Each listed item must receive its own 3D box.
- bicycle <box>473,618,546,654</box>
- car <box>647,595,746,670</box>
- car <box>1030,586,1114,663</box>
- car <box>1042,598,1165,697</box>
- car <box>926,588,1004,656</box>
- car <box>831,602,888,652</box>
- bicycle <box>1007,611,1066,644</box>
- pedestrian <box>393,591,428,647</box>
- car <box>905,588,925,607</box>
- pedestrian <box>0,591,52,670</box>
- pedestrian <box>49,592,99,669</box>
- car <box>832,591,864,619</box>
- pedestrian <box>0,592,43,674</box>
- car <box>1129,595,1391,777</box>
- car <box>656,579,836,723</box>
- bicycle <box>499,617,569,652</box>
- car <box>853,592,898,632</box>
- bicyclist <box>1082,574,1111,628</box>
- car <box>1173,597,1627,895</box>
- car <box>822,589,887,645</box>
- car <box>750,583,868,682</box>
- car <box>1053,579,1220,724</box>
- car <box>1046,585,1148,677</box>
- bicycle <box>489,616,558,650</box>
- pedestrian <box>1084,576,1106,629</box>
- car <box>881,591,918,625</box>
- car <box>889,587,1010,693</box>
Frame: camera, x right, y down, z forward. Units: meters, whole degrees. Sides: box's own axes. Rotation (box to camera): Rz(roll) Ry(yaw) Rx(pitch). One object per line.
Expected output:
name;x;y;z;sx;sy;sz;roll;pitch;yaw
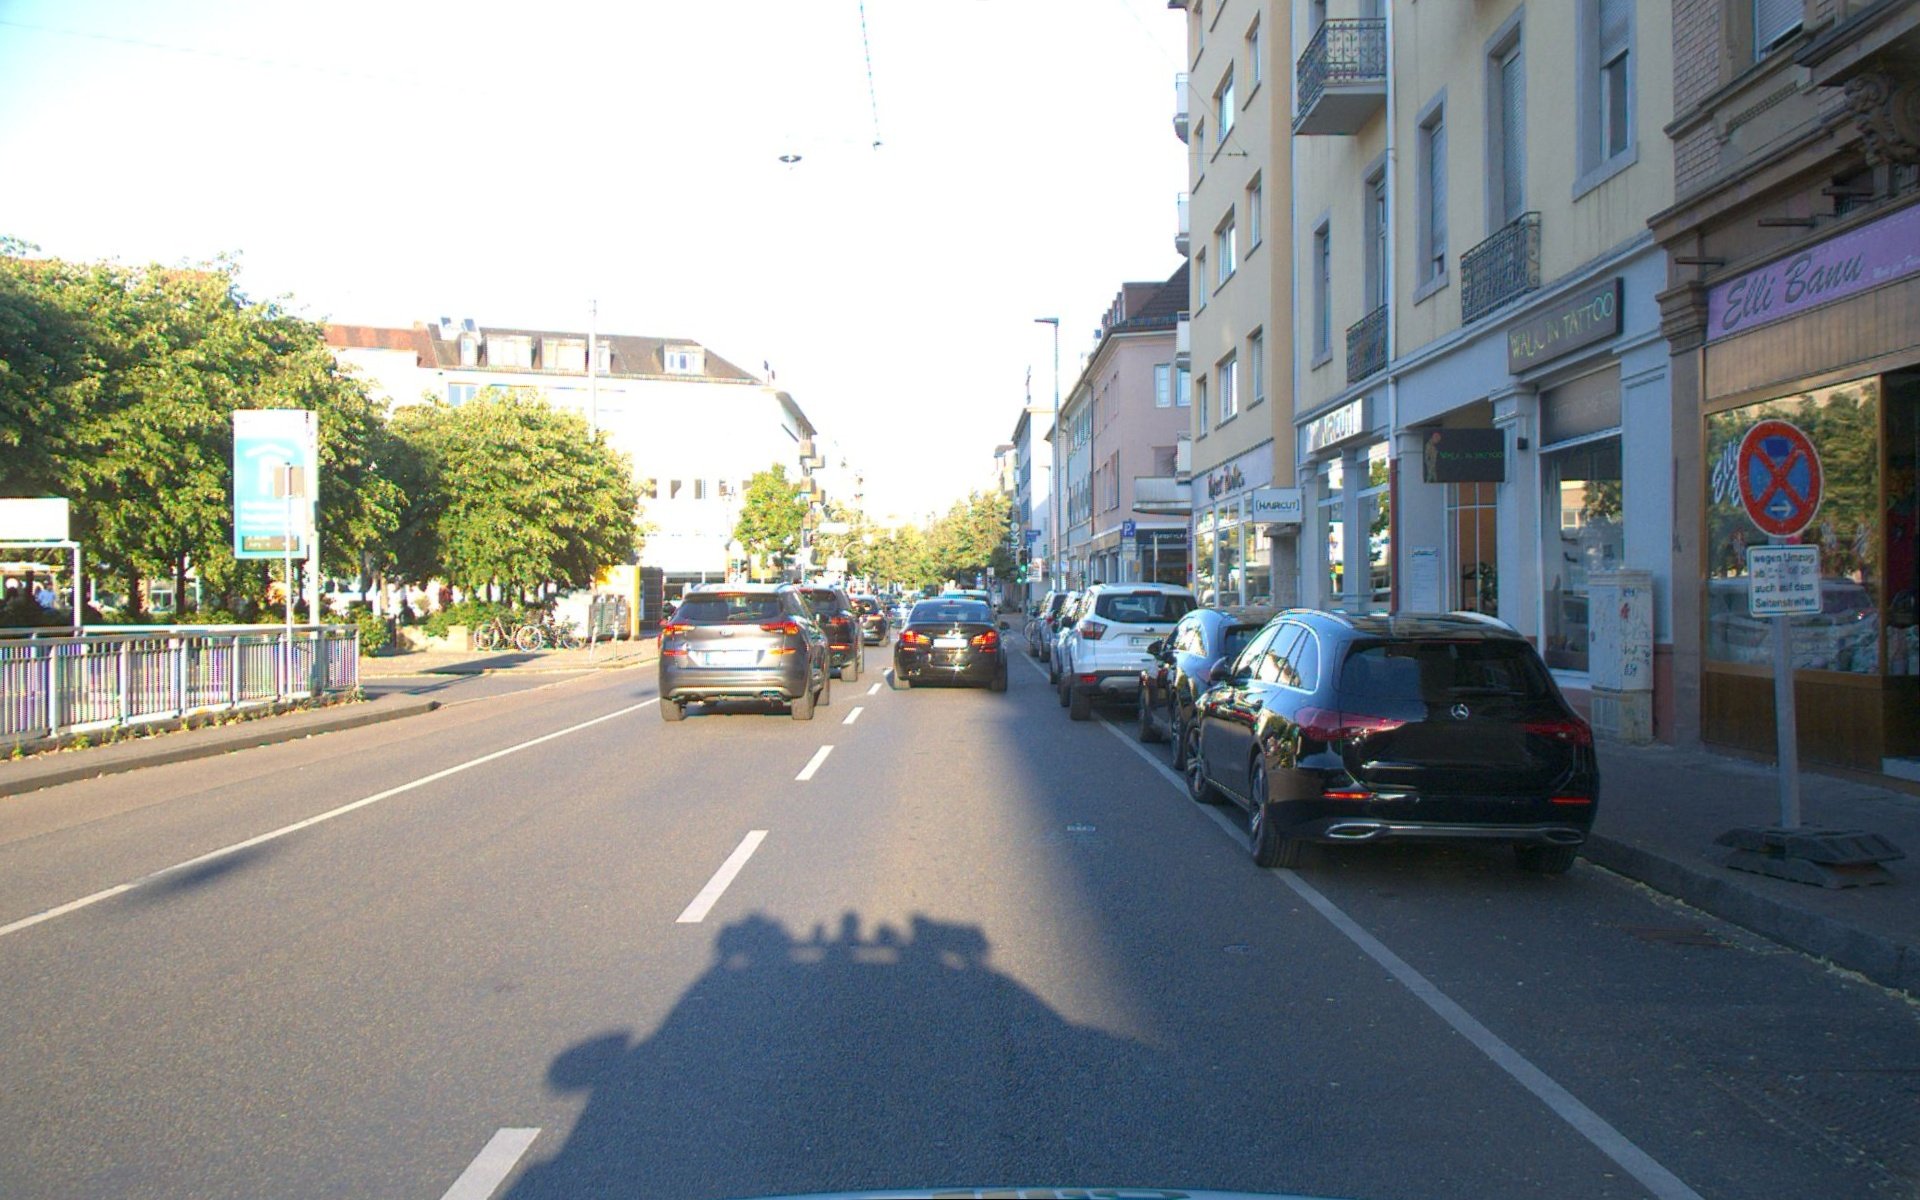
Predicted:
bicycle;-12.049;0.962;44.259;1.789;0.868;0.483;2;0;-5
car;-6.089;0.714;38.534;1.657;1.579;3.950;-3;0;-1
car;2.606;0.559;39.273;1.694;1.681;3.970;1;0;0
car;2.307;0.736;27.541;1.694;1.476;4.312;1;0;1
car;0.087;0.532;41.931;1.858;1.609;3.999;1;0;-1
car;-3.310;0.858;55.117;1.743;1.574;3.999;0;0;-1
bicycle;2.272;0.815;49.223;1.728;0.984;0.491;0;0;4
pedestrian;-15.839;0.542;47.665;0.774;1.623;0.568;0;0;19
car;-3.911;-0.234;144.510;1.743;1.574;3.999;0;0;-1
pedestrian;-19.288;0.621;34.171;0.774;1.623;0.568;0;0;19
pedestrian;-18.925;0.644;35.324;0.774;1.623;0.568;0;0;19
car;-6.774;0.294;100.257;1.657;1.579;3.950;-3;0;-1
pedestrian;-18.927;0.651;33.156;0.774;1.623;0.568;0;0;19
car;2.736;0.732;16.056;1.694;1.473;4.473;1;0;0
car;-2.653;0.591;21.377;1.858;1.678;4.103;0;0;-1
bicycle;-11.850;0.963;46.065;1.789;0.868;0.483;2;0;-5
car;-3.468;0.482;68.106;1.743;1.574;3.999;0;0;-1
bicyclist;4.641;0.035;56.104;0.814;1.808;0.608;0;0;27
car;2.539;0.757;10.698;1.694;1.473;4.524;1;0;0
car;-3.044;0.466;48.238;1.743;1.574;3.999;0;0;-1
car;-2.667;0.544;30.007;1.858;1.678;4.103;0;0;-1
car;2.217;0.619;21.780;1.694;1.679;4.284;1;0;0
car;2.682;0.598;33.053;1.694;1.681;3.828;1;0;0
bicycle;-12.391;0.940;46.968;1.789;0.868;0.483;2;0;-5
pedestrian;4.757;0.088;58.177;0.685;1.843;0.634;0;0;-4
car;-2.887;0.360;80.031;1.743;1.574;3.999;0;0;-1
car;-0.200;0.615;27.663;1.858;1.609;3.999;1;0;-1
